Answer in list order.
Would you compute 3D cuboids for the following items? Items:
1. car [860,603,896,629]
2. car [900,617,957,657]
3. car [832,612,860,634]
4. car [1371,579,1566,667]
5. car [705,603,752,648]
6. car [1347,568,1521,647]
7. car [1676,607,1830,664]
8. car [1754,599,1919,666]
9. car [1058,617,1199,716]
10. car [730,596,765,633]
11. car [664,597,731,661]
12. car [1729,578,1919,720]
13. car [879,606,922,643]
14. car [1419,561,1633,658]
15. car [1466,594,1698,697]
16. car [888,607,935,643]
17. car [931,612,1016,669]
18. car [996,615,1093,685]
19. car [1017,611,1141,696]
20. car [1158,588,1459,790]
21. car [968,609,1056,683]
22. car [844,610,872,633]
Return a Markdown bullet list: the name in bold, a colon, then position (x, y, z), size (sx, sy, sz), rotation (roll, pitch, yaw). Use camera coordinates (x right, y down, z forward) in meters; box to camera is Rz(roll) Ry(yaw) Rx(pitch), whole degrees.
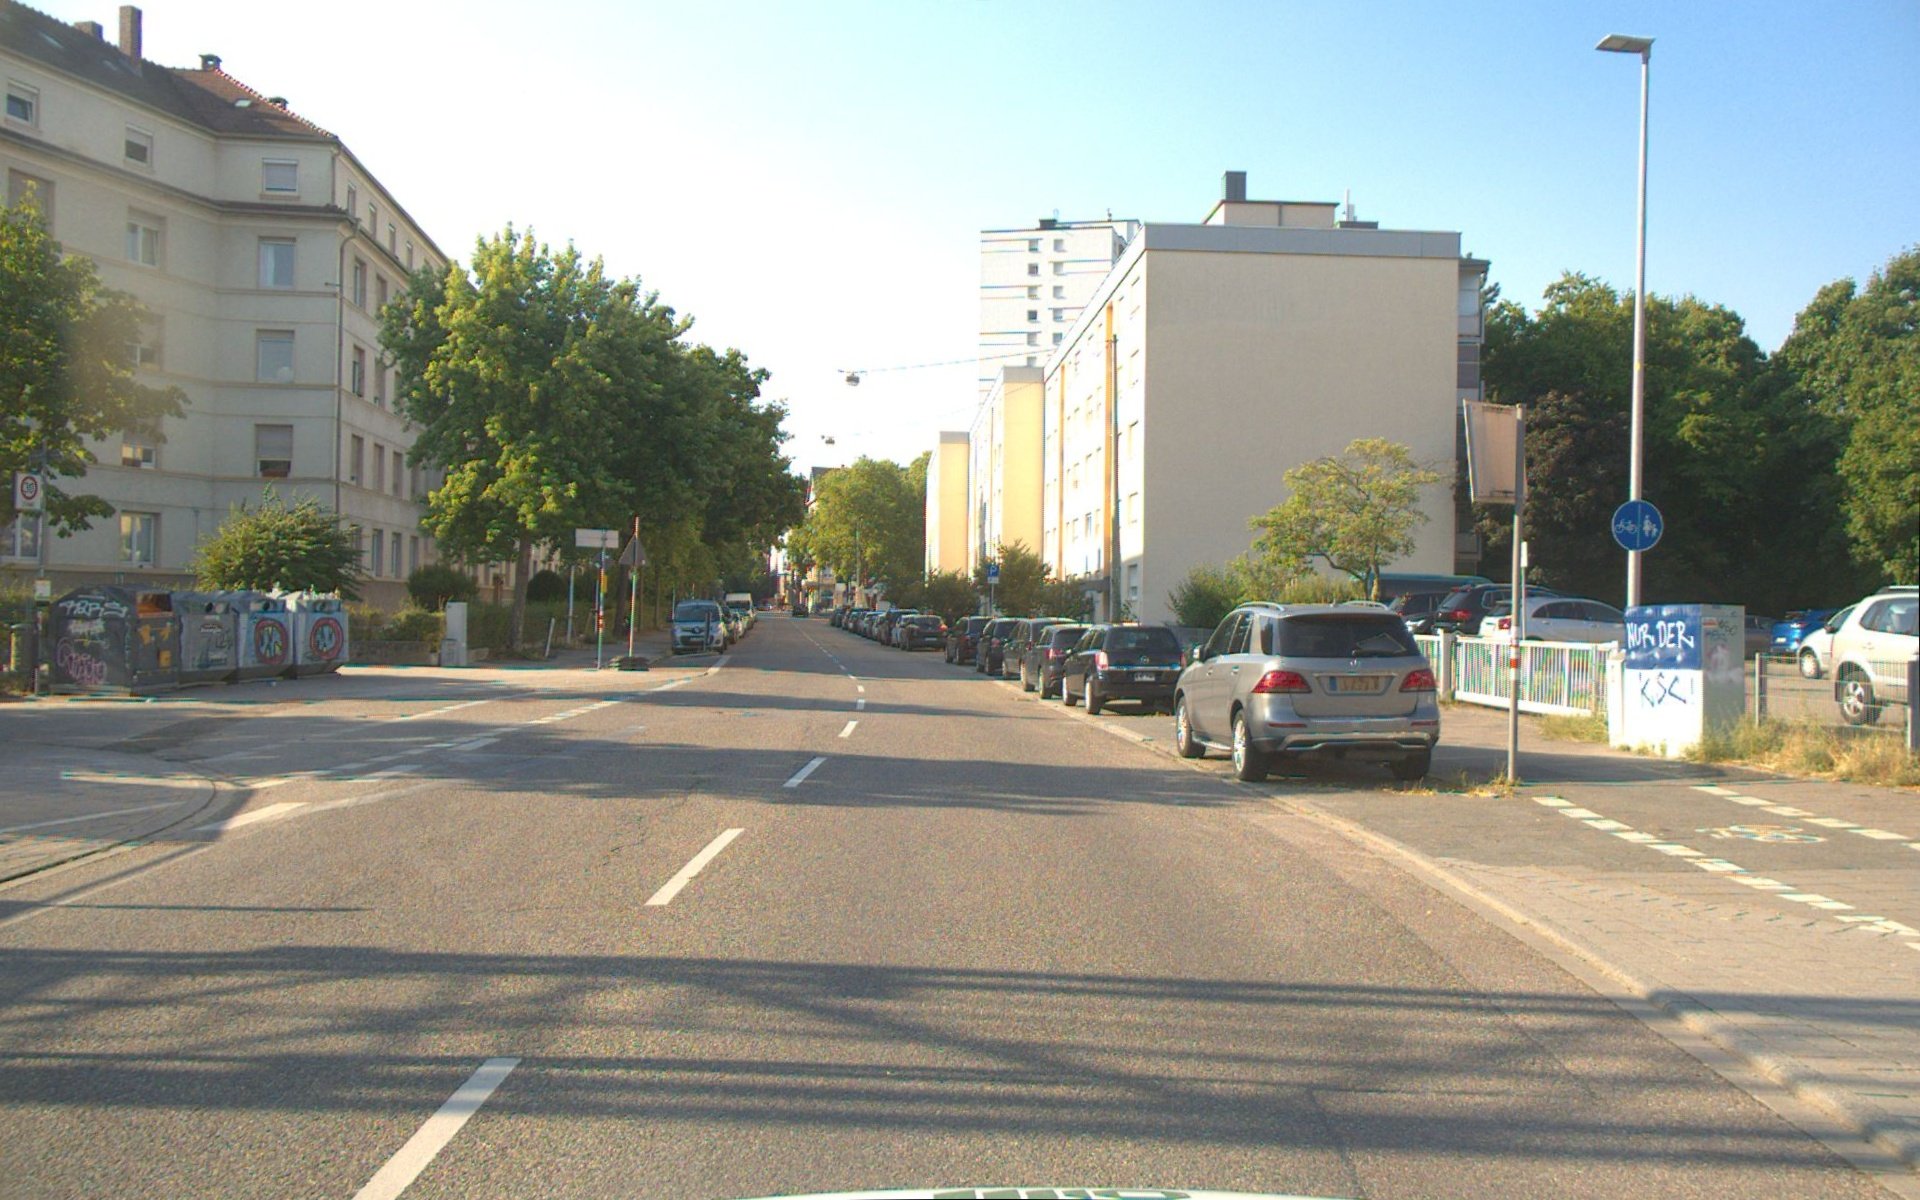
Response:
- **car**: position (-5.116, 1.019, 102.769), size (1.838, 1.468, 3.992), rotation (3, -2, -8)
- **car**: position (-1.365, 1.568, 69.646), size (1.765, 1.533, 4.612), rotation (3, -2, -8)
- **car**: position (-9.778, 1.929, 141.664), size (1.863, 1.680, 4.334), rotation (5, -1, -8)
- **car**: position (12.016, 0.561, 39.243), size (3.909, 1.825, 1.998), rotation (3, -2, -5)
- **car**: position (-10.056, 1.124, 71.762), size (1.838, 1.790, 4.680), rotation (3, -2, -8)
- **car**: position (12.501, 0.220, 43.775), size (3.911, 1.825, 1.997), rotation (3, -2, -6)
- **car**: position (24.925, 1.117, 52.067), size (3.993, 1.530, 1.828), rotation (3, -2, -6)
- **car**: position (25.299, 0.945, 47.288), size (4.388, 1.630, 1.731), rotation (3, -2, -4)
- **car**: position (2.836, 1.126, 28.736), size (1.707, 1.568, 4.435), rotation (0, -2, -4)
- **car**: position (-15.498, 1.098, 120.870), size (2.313, 2.488, 6.155), rotation (3, -2, -6)
- **car**: position (-8.925, 1.010, 56.503), size (1.806, 1.929, 4.481), rotation (5, -2, -5)
- **car**: position (12.017, 0.676, 21.808), size (1.620, 1.691, 3.996), rotation (3, -2, -4)
- **car**: position (-2.932, 1.209, 80.655), size (1.738, 1.707, 4.639), rotation (-1, -1, -7)
- **car**: position (12.321, 0.231, 36.144), size (3.911, 1.825, 1.997), rotation (3, -2, -6)
- **car**: position (12.630, 0.930, 33.738), size (3.911, 1.825, 1.997), rotation (3, -2, -6)
- **car**: position (-2.246, 1.157, 75.447), size (1.738, 1.534, 3.994), rotation (3, -2, -6)
- **car**: position (0.367, 1.251, 51.831), size (1.851, 1.589, 4.936), rotation (-3, -1, -8)
- **car**: position (1.973, 1.164, 39.784), size (1.619, 1.461, 3.953), rotation (1, 1, -8)
- **car**: position (2.405, 1.111, 34.631), size (1.864, 1.556, 4.806), rotation (3, -2, -4)
- **car**: position (3.566, 0.893, 17.942), size (1.883, 1.810, 4.806), rotation (-2, -1, -4)
- **car**: position (1.359, 1.253, 44.859), size (1.864, 1.810, 4.577), rotation (3, -2, -4)
- **car**: position (-7.395, 1.580, 119.254), size (1.802, 1.528, 4.167), rotation (3, -2, -5)
